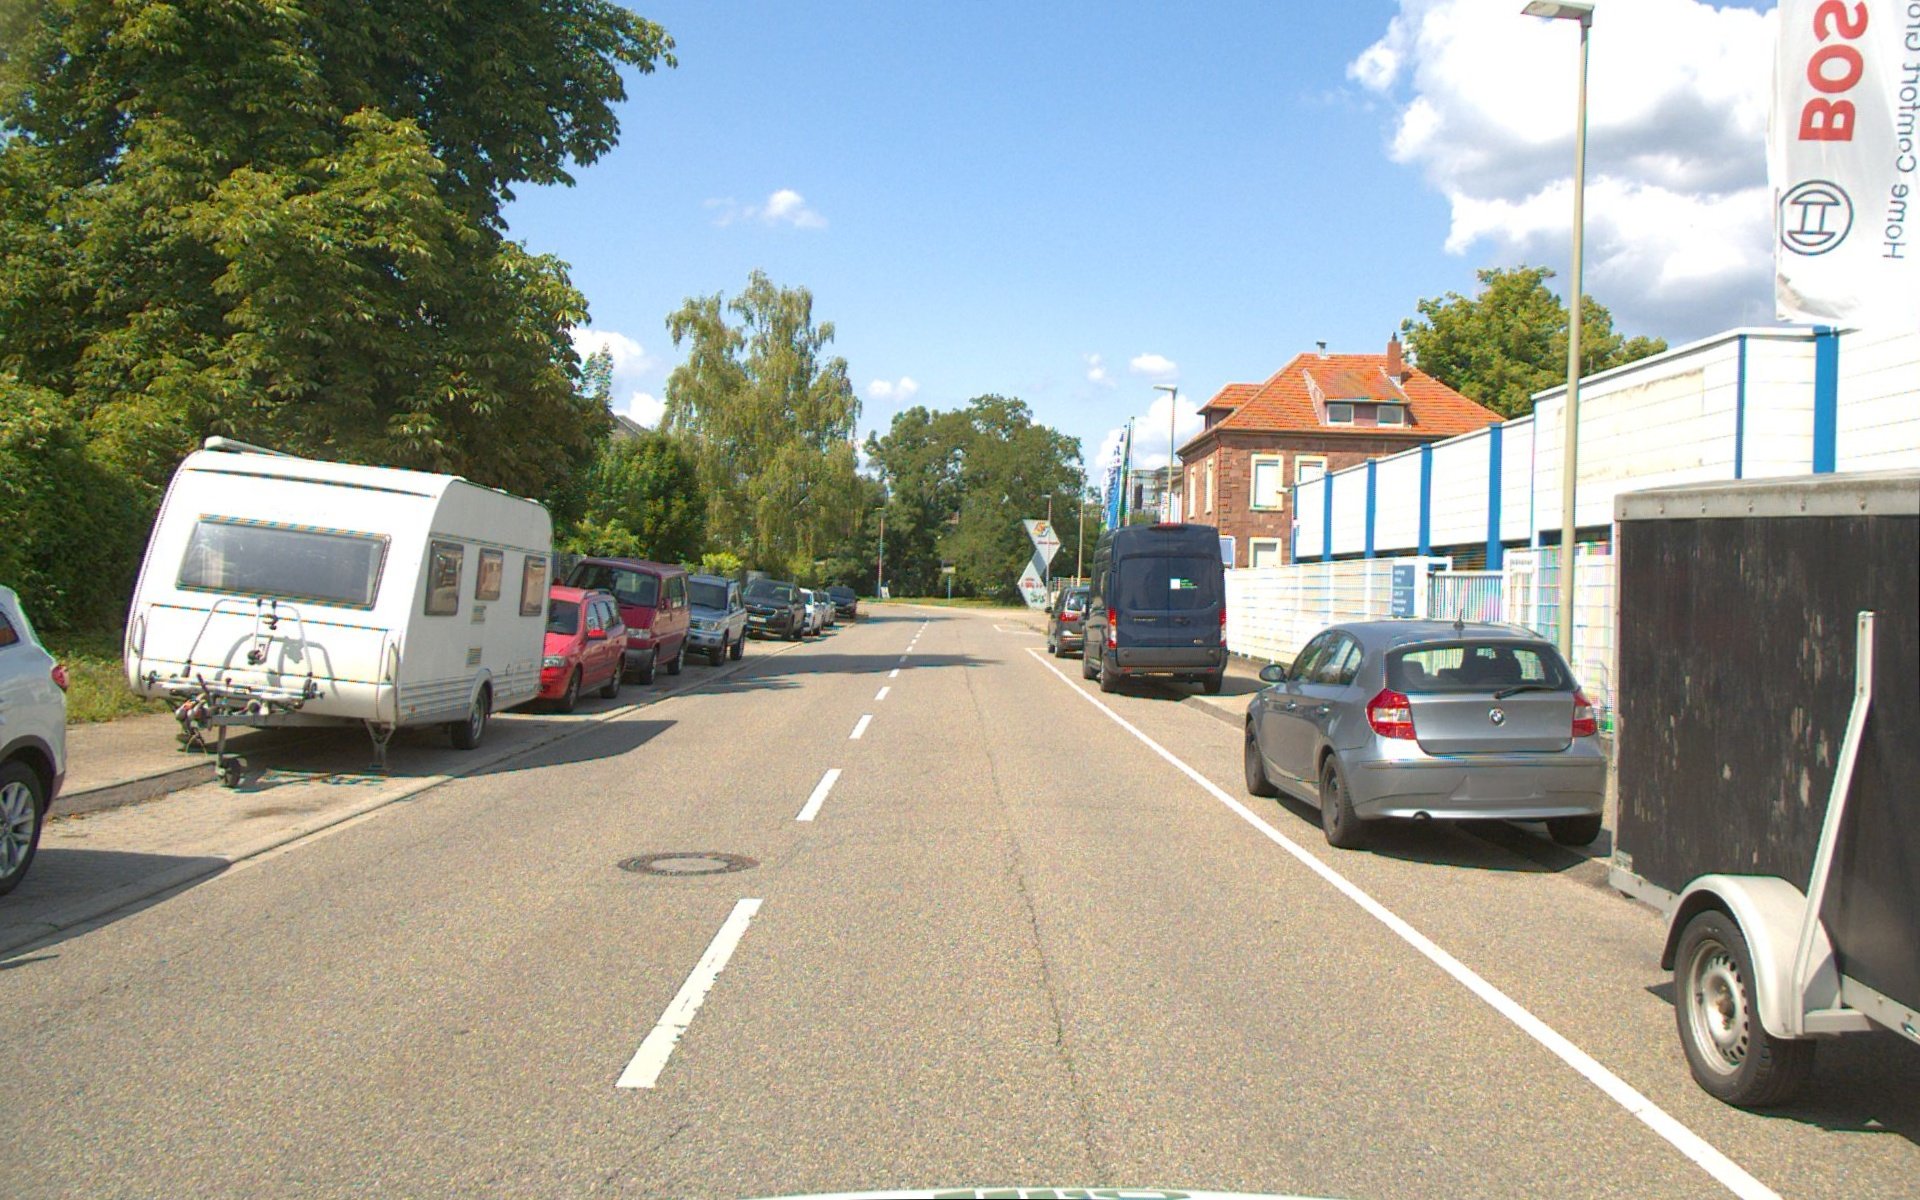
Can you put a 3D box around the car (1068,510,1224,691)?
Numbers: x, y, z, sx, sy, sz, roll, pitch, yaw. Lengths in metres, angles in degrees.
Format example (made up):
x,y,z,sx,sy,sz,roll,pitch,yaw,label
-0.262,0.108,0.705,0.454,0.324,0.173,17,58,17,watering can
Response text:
x,y,z,sx,sy,sz,roll,pitch,yaw,label
3.133,-0.008,29.180,1.898,2.796,6.153,2,0,-1,car

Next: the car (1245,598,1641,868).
x,y,z,sx,sy,sz,roll,pitch,yaw,label
3.192,0.781,11.769,1.540,1.534,4.132,1,0,-1,car

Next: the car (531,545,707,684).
x,y,z,sx,sy,sz,roll,pitch,yaw,label
-5.784,0.230,28.691,1.860,1.987,4.957,7,0,-1,car

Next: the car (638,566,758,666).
x,y,z,sx,sy,sz,roll,pitch,yaw,label
-5.430,0.301,34.721,1.665,1.833,3.827,5,1,1,car

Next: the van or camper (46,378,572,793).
x,y,z,sx,sy,sz,roll,pitch,yaw,label
-5.559,-0.124,15.522,2.218,2.852,6.831,5,0,-2,van or camper

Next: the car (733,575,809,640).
x,y,z,sx,sy,sz,roll,pitch,yaw,label
-5.588,0.193,49.368,1.577,1.775,4.637,3,1,1,car

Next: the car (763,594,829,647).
x,y,z,sx,sy,sz,roll,pitch,yaw,label
-5.473,0.653,55.674,1.665,1.622,4.787,2,1,0,car

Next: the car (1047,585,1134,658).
x,y,z,sx,sy,sz,roll,pitch,yaw,label
3.200,0.477,41.228,1.787,1.693,4.556,1,1,0,car

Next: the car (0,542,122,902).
x,y,z,sx,sy,sz,roll,pitch,yaw,label
-5.341,0.544,6.766,1.651,1.721,4.442,5,0,-4,car

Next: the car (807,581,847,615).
x,y,z,sx,sy,sz,roll,pitch,yaw,label
-6.733,-0.076,84.073,1.649,1.538,4.156,5,0,-2,car

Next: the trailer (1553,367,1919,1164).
x,y,z,sx,sy,sz,roll,pitch,yaw,label
3.277,0.441,5.451,1.569,2.073,2.740,2,0,-1,trailer

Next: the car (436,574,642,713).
x,y,z,sx,sy,sz,roll,pitch,yaw,label
-5.567,0.520,22.407,1.592,1.558,4.268,5,0,0,car
